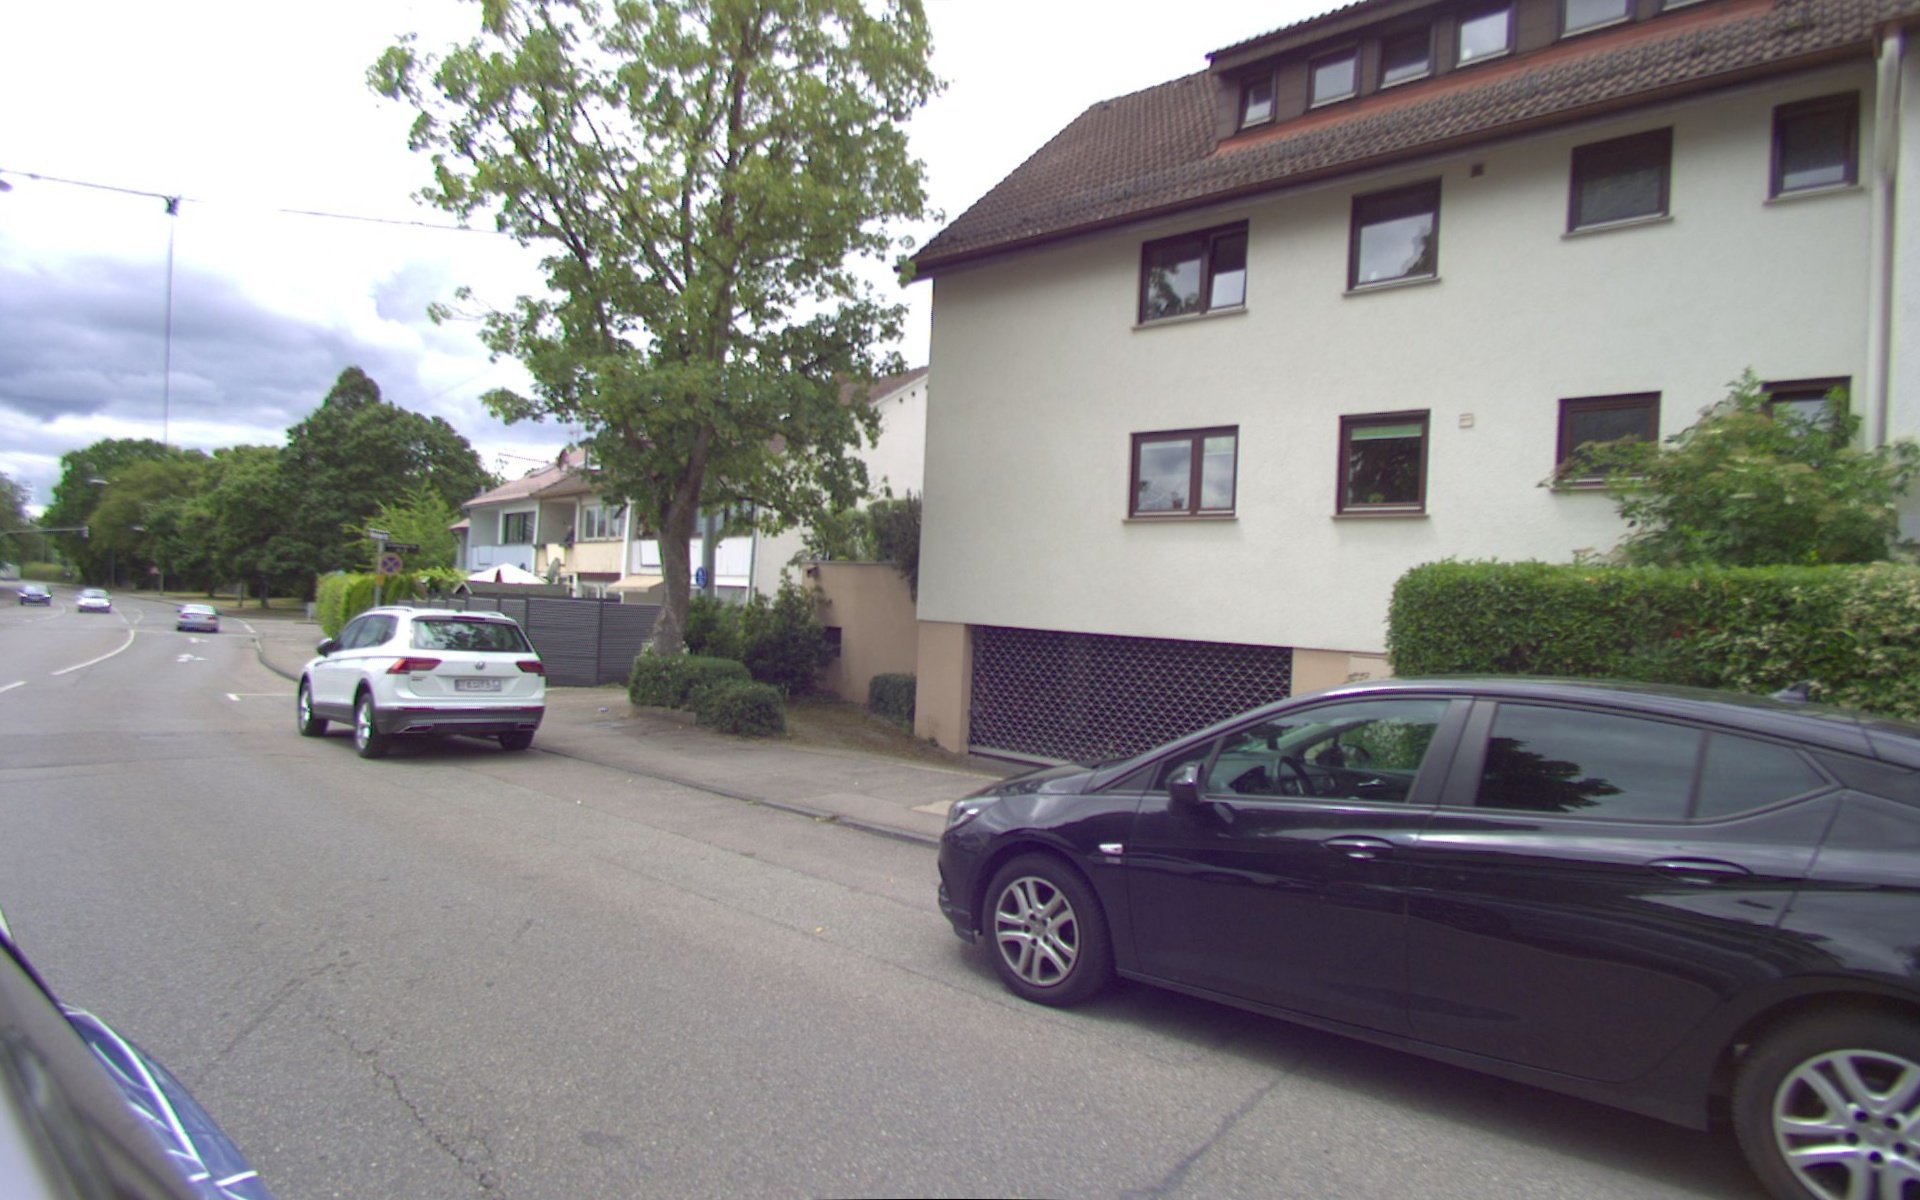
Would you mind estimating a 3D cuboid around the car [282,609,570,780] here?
[{"bbox_3d":[-6.742,1.031,12.528,1.828,1.727,4.577,5,-4,-45],"label":"car"}]

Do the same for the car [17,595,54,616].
[{"bbox_3d":[-70.415,0.411,77.115,1.897,1.530,4.006,2,0,-40],"label":"car"}]

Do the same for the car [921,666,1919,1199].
[{"bbox_3d":[1.961,1.042,3.895,4.074,1.449,1.745,-1,-4,39],"label":"car"}]

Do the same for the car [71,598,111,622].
[{"bbox_3d":[-60.278,0.678,70.171,3.558,1.530,1.756,2,1,43],"label":"car"}]

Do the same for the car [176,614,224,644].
[{"bbox_3d":[-39.321,1.472,52.431,1.690,1.364,4.093,7,-5,-34],"label":"car"}]
